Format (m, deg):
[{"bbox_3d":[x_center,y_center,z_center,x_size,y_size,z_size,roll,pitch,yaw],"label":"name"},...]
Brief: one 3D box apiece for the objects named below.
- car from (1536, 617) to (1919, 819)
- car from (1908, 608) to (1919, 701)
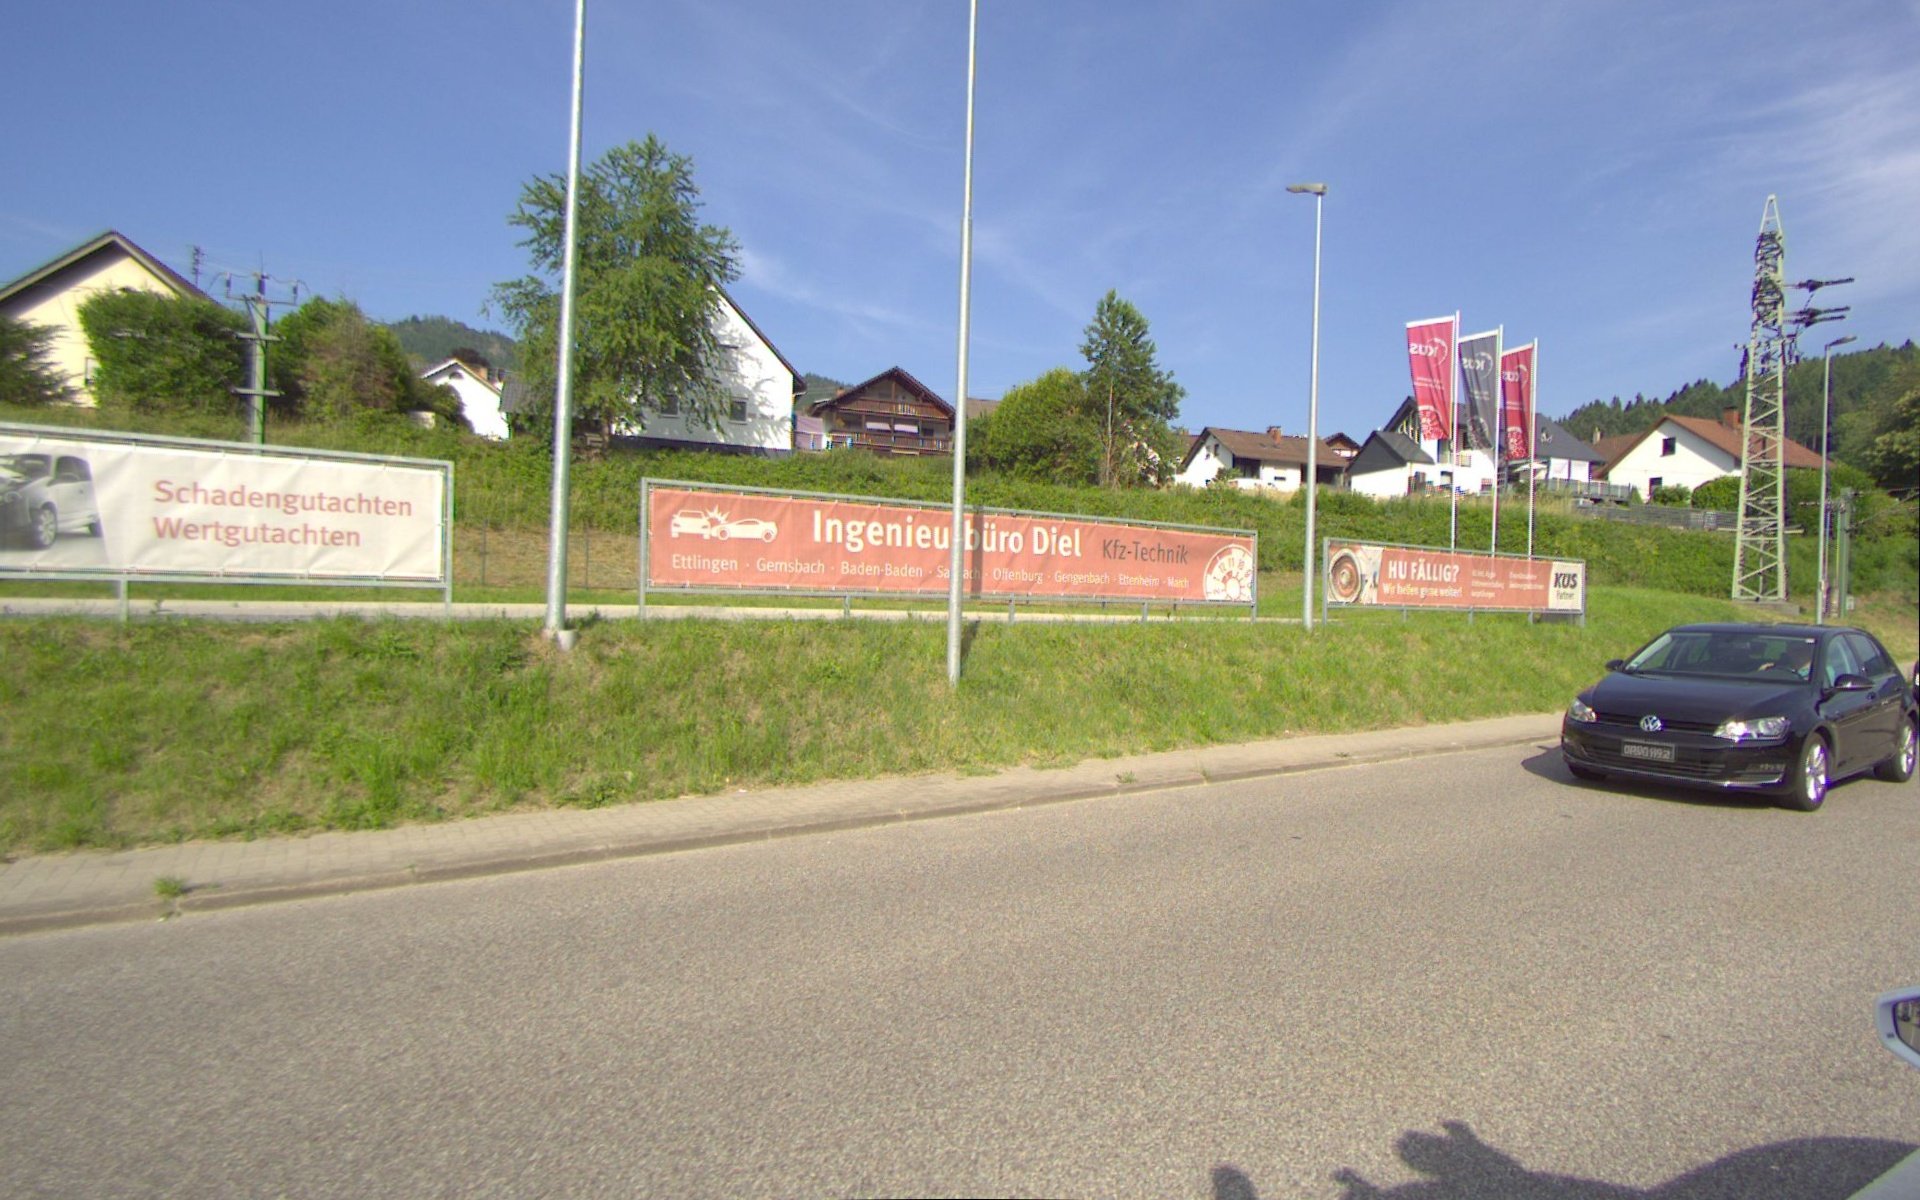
[{"bbox_3d":[7.243,0.905,9.217,4.229,1.426,1.763,1,0,-35],"label":"car"},{"bbox_3d":[18.036,0.936,17.229,4.229,1.536,1.763,1,0,-35],"label":"car"}]
